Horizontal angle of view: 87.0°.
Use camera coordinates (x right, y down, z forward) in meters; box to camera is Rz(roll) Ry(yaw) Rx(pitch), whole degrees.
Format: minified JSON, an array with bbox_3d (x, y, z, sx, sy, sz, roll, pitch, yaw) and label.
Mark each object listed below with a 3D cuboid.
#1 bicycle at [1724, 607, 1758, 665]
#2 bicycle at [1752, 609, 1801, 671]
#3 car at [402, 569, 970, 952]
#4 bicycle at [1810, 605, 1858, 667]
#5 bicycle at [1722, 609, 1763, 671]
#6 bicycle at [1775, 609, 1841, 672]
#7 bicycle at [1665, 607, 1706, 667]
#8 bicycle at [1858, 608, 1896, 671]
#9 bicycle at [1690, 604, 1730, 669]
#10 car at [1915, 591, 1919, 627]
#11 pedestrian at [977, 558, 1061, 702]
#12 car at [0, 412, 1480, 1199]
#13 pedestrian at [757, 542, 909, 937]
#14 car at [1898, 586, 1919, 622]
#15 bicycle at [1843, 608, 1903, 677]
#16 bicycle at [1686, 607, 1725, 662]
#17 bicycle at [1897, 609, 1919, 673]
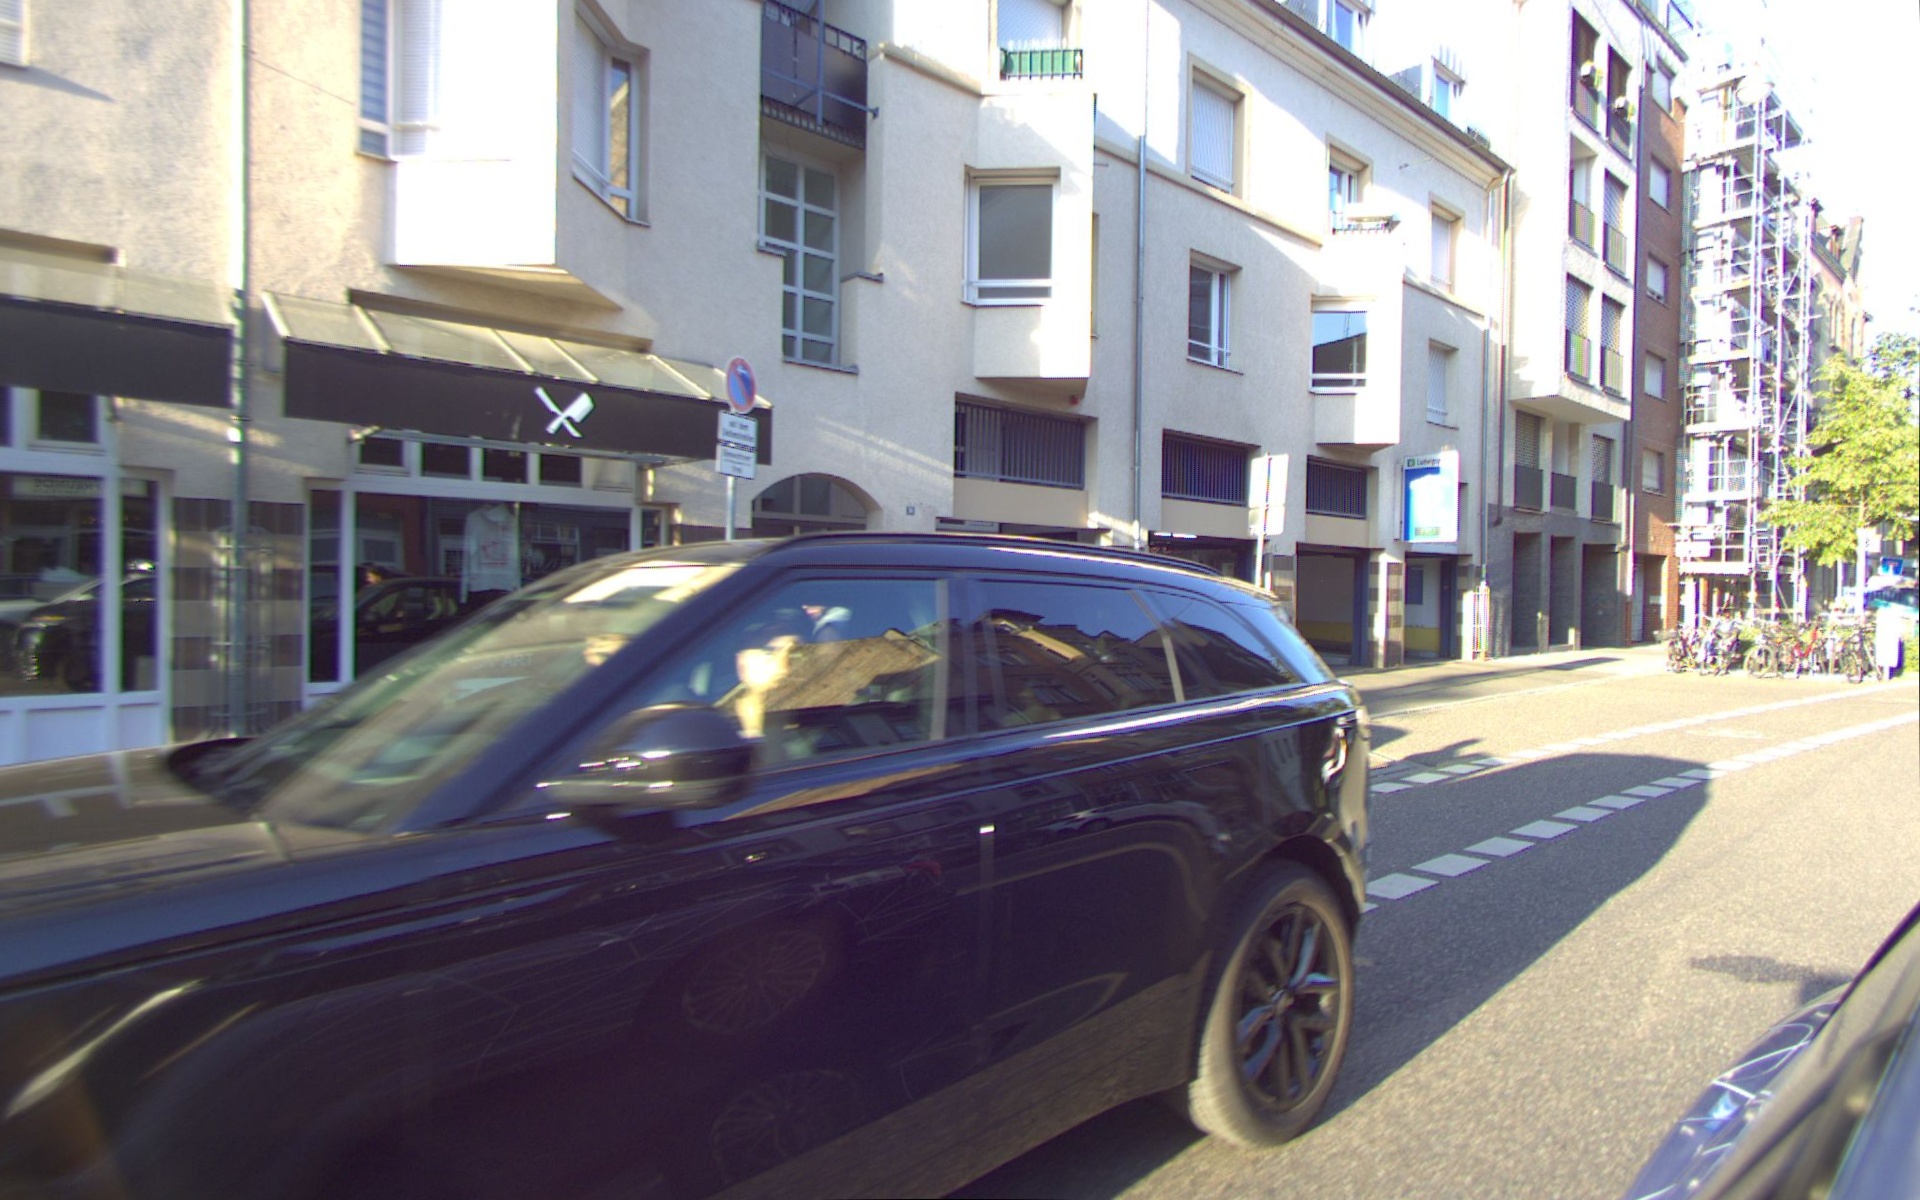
[{"bbox_3d":[15.999,0.712,20.728,0.382,1.114,1.499,2,1,43],"label":"bicycle"},{"bbox_3d":[15.568,0.739,19.275,1.537,1.114,0.383,0,1,-39],"label":"bicycle"},{"bbox_3d":[-1.475,0.645,5.716,2.648,1.573,1.635,0,2,-42],"label":"car"},{"bbox_3d":[16.985,0.679,19.684,0.379,1.114,1.507,1,1,29],"label":"bicycle"},{"bbox_3d":[15.019,0.749,19.407,1.497,1.114,0.382,-1,1,-43],"label":"bicycle"},{"bbox_3d":[15.685,0.736,18.706,1.492,1.122,0.373,0,1,-28],"label":"bicycle"},{"bbox_3d":[14.620,0.726,20.392,1.498,1.114,0.382,-1,2,-43],"label":"bicycle"},{"bbox_3d":[17.381,0.727,19.177,1.497,1.114,0.382,0,1,-43],"label":"bicycle"},{"bbox_3d":[14.658,0.696,19.767,1.498,1.204,0.382,-1,0,-43],"label":"bicycle"},{"bbox_3d":[42.363,0.470,41.378,1.833,1.497,4.541,0,3,-36],"label":"car"},{"bbox_3d":[0.713,0.343,12.258,0.797,1.667,0.606,0,0,-35],"label":"pedestrian"},{"bbox_3d":[-0.685,0.635,2.678,4.590,1.676,1.999,0,0,-39],"label":"car"},{"bbox_3d":[-0.574,0.585,4.664,0.438,1.685,0.560,2,1,26],"label":"pedestrian"},{"bbox_3d":[43.920,0.277,43.887,1.876,1.530,4.538,2,1,-39],"label":"car"},{"bbox_3d":[16.273,0.743,18.033,1.534,1.155,0.364,-1,1,-32],"label":"bicycle"},{"bbox_3d":[15.782,0.708,21.407,1.498,1.114,0.382,0,1,-43],"label":"bicycle"},{"bbox_3d":[17.846,0.751,18.899,1.497,1.114,0.382,-1,2,-43],"label":"bicycle"}]
